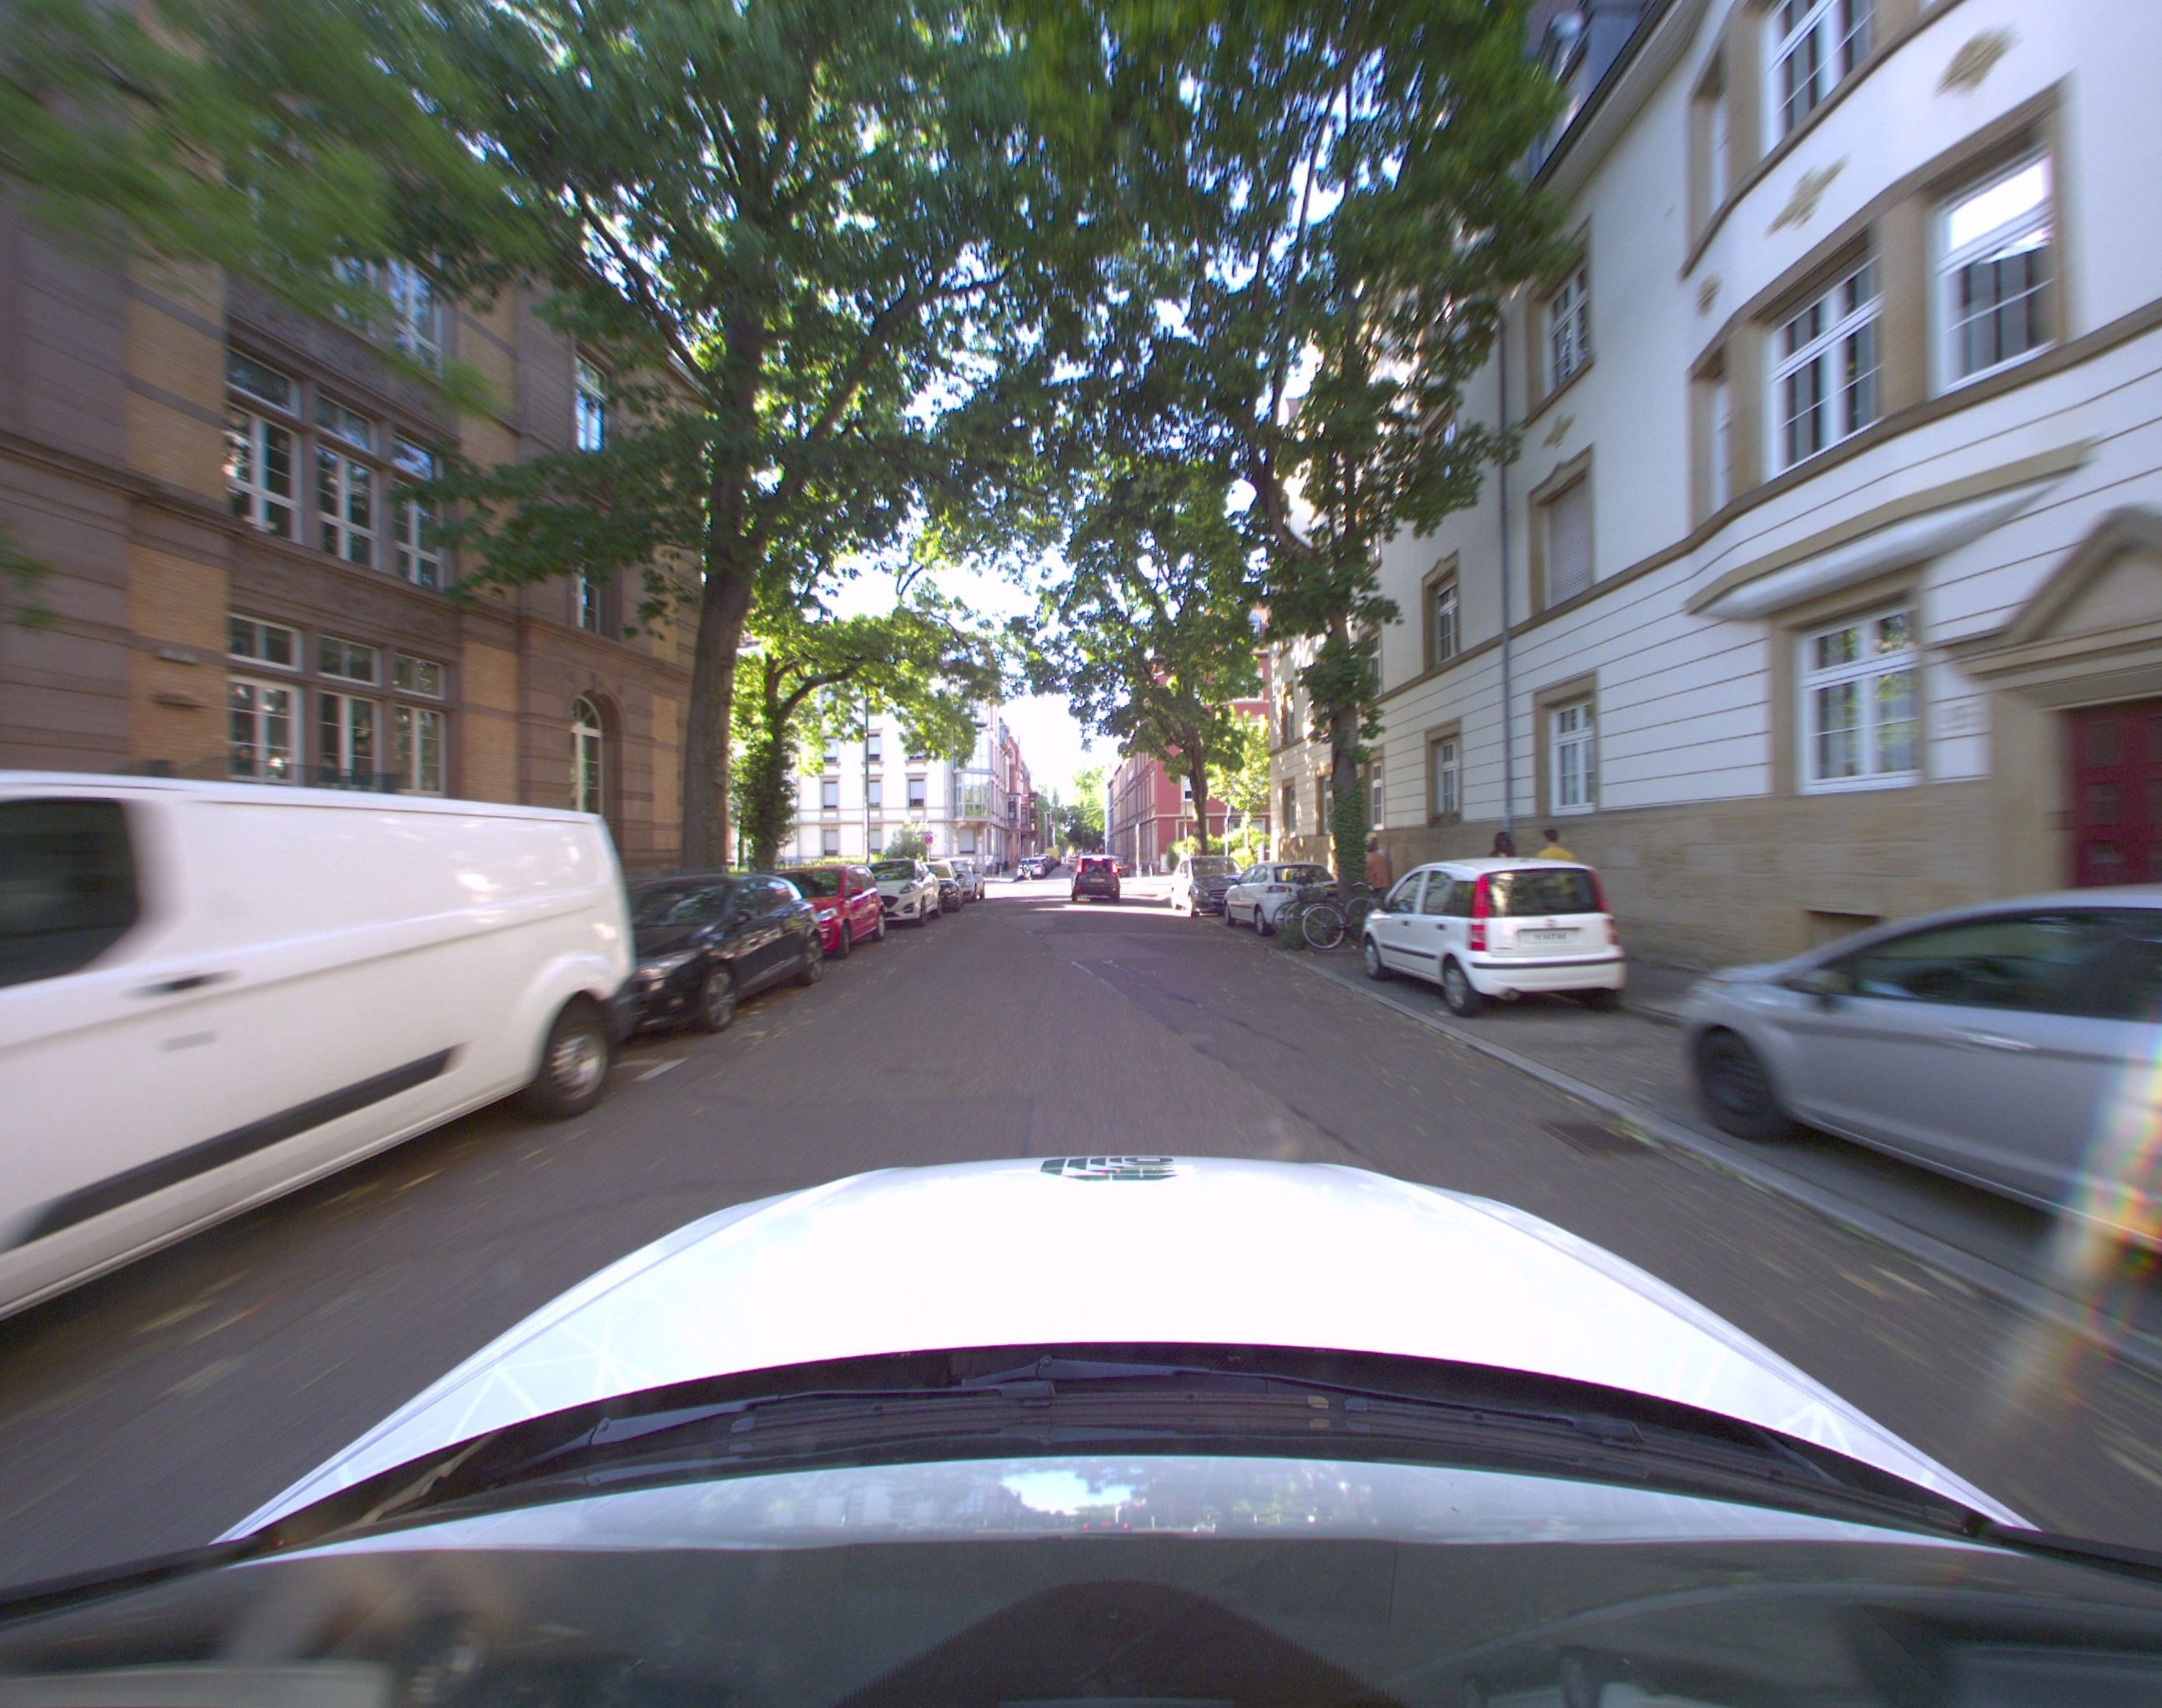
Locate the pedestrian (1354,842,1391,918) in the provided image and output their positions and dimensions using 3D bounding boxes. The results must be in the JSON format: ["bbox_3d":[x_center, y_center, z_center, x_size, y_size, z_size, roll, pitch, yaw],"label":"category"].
[{"bbox_3d":[6.772,0.585,18.945,0.488,1.705,0.757,-3,0,-2],"label":"pedestrian"}]

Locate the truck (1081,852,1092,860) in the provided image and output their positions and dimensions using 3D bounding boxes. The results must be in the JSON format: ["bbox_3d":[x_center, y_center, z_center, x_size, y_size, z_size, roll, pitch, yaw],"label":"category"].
[{"bbox_3d":[1.086,0.333,156.551,1.987,1.456,3.999,-1,0,-1],"label":"truck"}]

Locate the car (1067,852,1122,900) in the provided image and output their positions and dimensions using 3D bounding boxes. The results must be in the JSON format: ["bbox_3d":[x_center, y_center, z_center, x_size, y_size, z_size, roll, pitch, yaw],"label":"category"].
[{"bbox_3d":[0.409,0.710,27.951,1.630,1.550,3.259,0,0,-4],"label":"car"}]

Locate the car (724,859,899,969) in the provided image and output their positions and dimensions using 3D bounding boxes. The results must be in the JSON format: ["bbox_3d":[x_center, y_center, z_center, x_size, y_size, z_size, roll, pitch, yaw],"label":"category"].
[{"bbox_3d":[-4.381,0.884,13.908,1.597,1.460,4.026,-4,0,-1],"label":"car"}]

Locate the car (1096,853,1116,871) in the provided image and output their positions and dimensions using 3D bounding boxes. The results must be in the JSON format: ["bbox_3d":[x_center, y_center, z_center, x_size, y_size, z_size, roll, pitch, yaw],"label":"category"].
[{"bbox_3d":[2.108,0.668,69.107,1.657,1.505,3.757,0,0,0],"label":"car"}]

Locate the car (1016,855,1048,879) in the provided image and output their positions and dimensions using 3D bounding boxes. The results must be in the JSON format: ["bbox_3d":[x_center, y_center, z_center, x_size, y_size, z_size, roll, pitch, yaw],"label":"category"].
[{"bbox_3d":[-3.322,0.844,55.968,1.791,1.431,3.925,-4,0,0],"label":"car"}]

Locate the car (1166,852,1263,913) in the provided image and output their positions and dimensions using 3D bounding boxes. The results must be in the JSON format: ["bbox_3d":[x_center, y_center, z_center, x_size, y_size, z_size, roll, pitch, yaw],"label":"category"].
[{"bbox_3d":[3.640,0.736,22.998,1.785,1.551,4.404,-1,0,-3],"label":"car"}]

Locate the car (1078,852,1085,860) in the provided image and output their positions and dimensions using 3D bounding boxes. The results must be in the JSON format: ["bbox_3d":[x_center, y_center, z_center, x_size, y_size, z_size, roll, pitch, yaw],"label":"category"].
[{"bbox_3d":[0.088,0.451,176.140,1.363,1.618,3.413,-1,0,0],"label":"car"}]

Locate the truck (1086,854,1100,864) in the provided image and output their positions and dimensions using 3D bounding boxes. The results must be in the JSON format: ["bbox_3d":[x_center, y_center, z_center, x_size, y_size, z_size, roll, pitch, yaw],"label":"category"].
[{"bbox_3d":[1.727,0.703,116.994,1.987,1.456,3.999,-1,0,-1],"label":"truck"}]

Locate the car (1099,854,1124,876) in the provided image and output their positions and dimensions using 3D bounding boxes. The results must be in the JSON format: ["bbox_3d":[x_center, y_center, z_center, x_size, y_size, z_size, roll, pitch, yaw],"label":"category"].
[{"bbox_3d":[2.126,0.760,58.107,1.657,1.505,3.757,0,0,0],"label":"car"}]

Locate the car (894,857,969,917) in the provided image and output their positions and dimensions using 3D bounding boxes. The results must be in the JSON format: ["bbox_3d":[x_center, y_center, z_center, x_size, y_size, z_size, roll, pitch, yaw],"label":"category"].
[{"bbox_3d":[-4.317,0.893,24.149,1.744,1.474,4.454,-5,0,-6],"label":"car"}]

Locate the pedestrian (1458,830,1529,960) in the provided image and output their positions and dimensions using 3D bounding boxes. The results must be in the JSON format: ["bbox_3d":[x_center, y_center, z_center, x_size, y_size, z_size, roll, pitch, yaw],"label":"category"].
[{"bbox_3d":[5.748,0.552,11.389,0.518,1.735,0.878,-1,0,1],"label":"pedestrian"}]

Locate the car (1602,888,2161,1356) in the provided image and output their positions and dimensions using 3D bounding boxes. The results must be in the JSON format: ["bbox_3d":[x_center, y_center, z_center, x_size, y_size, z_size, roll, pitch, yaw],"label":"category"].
[{"bbox_3d":[4.365,0.945,3.457,1.617,1.394,4.156,-1,0,0],"label":"car"}]

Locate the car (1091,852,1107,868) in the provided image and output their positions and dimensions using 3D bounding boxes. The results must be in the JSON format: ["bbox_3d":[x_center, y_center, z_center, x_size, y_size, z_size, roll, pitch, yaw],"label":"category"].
[{"bbox_3d":[1.803,0.579,82.776,1.657,1.505,3.757,0,0,0],"label":"car"}]

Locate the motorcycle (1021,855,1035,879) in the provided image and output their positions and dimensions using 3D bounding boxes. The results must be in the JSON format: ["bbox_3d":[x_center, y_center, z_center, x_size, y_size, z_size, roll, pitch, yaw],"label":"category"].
[{"bbox_3d":[-3.437,0.828,52.669,0.696,1.460,1.745,-2,0,-10],"label":"motorcycle"}]

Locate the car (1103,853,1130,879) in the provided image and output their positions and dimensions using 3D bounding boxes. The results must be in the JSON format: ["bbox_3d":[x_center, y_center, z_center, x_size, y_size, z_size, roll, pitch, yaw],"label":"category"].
[{"bbox_3d":[2.323,0.749,53.618,1.657,1.669,3.757,0,0,0],"label":"car"}]

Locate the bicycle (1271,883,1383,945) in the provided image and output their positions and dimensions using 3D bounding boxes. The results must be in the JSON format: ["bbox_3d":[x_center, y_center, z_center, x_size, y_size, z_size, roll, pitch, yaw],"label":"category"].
[{"bbox_3d":[4.240,1.027,14.132,1.710,0.949,0.733,-2,0,-1],"label":"bicycle"}]

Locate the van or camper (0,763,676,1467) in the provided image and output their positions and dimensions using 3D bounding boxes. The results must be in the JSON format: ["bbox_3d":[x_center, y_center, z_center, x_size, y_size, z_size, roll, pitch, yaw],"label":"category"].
[{"bbox_3d":[-4.067,0.790,3.497,1.916,1.979,5.458,-4,0,-2],"label":"van or camper"}]

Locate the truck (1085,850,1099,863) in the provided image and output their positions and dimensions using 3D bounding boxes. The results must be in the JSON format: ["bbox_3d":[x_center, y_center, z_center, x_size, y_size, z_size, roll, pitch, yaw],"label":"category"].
[{"bbox_3d":[1.639,0.372,122.374,1.987,1.992,3.999,-1,0,-1],"label":"truck"}]

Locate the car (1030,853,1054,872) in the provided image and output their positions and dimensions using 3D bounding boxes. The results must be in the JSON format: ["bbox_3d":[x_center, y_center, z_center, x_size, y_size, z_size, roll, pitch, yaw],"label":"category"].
[{"bbox_3d":[-3.461,0.737,72.369,1.822,1.479,3.925,-4,0,0],"label":"car"}]

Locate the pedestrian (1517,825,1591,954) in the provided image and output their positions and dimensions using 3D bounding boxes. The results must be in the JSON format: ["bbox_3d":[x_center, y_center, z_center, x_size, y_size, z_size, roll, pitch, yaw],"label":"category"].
[{"bbox_3d":[6.471,0.476,11.173,0.593,1.701,0.689,-1,0,1],"label":"pedestrian"}]

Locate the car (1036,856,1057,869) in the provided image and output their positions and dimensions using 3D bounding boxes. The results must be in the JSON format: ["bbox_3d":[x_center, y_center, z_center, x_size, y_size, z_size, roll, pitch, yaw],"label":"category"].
[{"bbox_3d":[-3.677,0.864,86.809,1.955,1.224,3.925,-4,0,0],"label":"car"}]

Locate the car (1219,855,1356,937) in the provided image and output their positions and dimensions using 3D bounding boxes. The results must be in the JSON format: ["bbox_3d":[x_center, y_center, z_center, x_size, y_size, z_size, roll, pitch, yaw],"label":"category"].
[{"bbox_3d":[4.158,0.776,17.020,1.608,1.478,3.864,-1,0,-5],"label":"car"}]

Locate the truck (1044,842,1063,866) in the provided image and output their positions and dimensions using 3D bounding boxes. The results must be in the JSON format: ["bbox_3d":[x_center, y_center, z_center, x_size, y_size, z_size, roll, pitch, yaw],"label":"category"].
[{"bbox_3d":[-3.683,0.038,108.571,2.064,2.925,5.067,-5,0,0],"label":"truck"}]

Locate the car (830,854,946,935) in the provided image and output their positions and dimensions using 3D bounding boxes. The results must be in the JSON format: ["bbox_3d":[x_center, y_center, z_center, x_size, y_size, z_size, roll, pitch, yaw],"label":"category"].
[{"bbox_3d":[-4.408,0.853,19.208,1.821,1.554,4.129,-5,0,-3],"label":"car"}]

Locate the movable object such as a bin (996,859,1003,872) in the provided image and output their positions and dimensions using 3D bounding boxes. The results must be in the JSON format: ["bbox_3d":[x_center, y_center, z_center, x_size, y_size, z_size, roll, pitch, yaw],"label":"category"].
[{"bbox_3d":[-6.400,0.902,63.796,0.510,0.952,0.500,-1,0,-3],"label":"movable object such as a bin"}]

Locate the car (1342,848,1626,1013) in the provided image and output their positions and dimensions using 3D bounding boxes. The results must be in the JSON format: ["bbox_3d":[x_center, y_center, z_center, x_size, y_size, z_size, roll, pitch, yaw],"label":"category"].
[{"bbox_3d":[4.338,0.715,9.390,1.515,1.511,3.543,-1,0,0],"label":"car"}]

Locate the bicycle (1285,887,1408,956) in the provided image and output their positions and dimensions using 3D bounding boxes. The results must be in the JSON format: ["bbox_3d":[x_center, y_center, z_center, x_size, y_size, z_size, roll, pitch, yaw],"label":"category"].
[{"bbox_3d":[4.185,1.053,12.908,1.764,1.039,0.606,0,0,-1],"label":"bicycle"}]

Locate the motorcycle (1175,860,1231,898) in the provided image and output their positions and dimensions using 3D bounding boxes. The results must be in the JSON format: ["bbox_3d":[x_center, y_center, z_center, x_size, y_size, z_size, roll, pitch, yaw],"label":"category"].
[{"bbox_3d":[4.256,0.870,28.356,1.837,1.266,0.507,-2,0,13],"label":"motorcycle"}]

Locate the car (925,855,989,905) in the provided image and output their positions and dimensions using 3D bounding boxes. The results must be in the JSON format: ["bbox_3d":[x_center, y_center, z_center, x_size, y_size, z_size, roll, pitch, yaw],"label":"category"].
[{"bbox_3d":[-4.377,0.876,29.249,1.692,1.550,3.917,-4,0,-1],"label":"car"}]

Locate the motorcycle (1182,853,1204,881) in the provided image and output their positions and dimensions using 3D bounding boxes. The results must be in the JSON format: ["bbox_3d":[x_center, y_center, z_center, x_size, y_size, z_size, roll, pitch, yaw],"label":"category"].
[{"bbox_3d":[6.238,0.692,45.166,1.013,1.404,2.199,-1,2,12],"label":"motorcycle"}]

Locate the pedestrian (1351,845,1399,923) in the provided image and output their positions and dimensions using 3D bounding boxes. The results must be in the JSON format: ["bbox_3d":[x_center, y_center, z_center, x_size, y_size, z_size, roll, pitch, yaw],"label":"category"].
[{"bbox_3d":[6.502,0.645,18.054,0.775,1.694,0.875,0,0,2],"label":"pedestrian"}]

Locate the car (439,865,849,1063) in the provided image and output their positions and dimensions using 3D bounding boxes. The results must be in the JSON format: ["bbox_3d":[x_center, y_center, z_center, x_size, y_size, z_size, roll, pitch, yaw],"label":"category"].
[{"bbox_3d":[-4.245,0.932,9.009,1.995,1.457,4.604,-3,0,0],"label":"car"}]

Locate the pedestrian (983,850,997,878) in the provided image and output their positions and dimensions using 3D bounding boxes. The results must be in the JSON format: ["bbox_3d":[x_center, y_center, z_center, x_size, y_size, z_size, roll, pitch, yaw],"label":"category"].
[{"bbox_3d":[-6.110,0.683,54.667,0.718,1.839,0.628,0,0,10],"label":"pedestrian"}]
